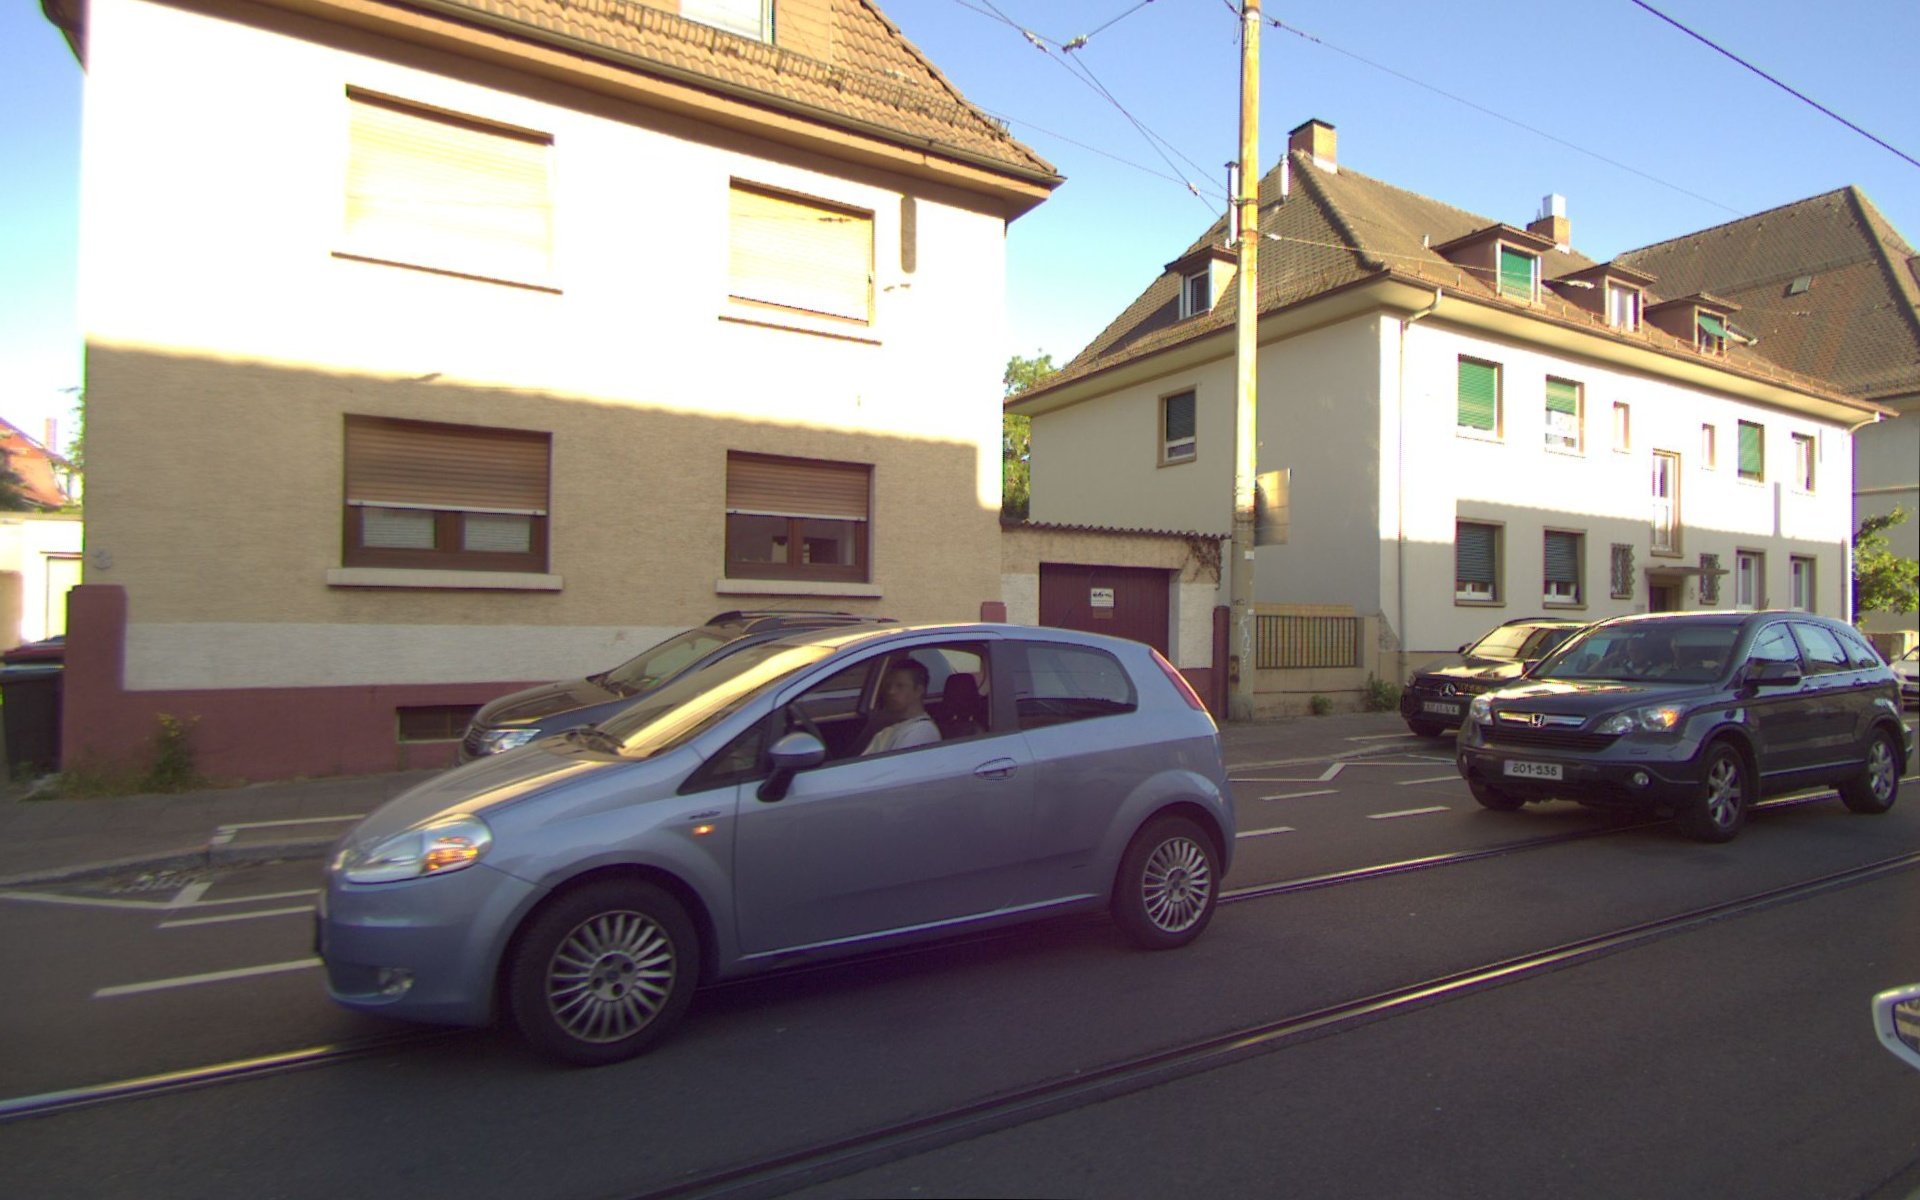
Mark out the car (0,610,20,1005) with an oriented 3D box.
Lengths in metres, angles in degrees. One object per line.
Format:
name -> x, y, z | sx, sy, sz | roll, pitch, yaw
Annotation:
car -> -4.822, 0.715, 2.289 | 3.569, 1.480, 1.576 | 1, -3, -29

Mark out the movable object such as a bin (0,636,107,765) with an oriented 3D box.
movable object such as a bin -> -8.317, 0.896, 9.185 | 0.664, 1.094, 0.612 | 1, 2, -30

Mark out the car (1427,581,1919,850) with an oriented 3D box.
car -> 5.989, 0.823, 8.295 | 4.312, 1.727, 1.696 | 2, -3, -30

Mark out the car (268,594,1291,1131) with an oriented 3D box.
car -> -0.551, 0.800, 4.506 | 4.027, 1.480, 1.610 | 2, -3, -30

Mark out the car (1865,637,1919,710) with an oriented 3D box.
car -> 20.997, 1.522, 21.213 | 3.968, 1.476, 1.624 | 2, -3, -30

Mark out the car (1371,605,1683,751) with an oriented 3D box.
car -> 7.891, 1.013, 13.866 | 4.503, 1.727, 1.753 | 2, -3, -31

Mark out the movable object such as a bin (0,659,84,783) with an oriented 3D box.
movable object such as a bin -> -7.954, 1.016, 8.581 | 0.575, 0.957, 0.654 | 1, 2, -30

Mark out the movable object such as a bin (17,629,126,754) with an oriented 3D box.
movable object such as a bin -> -8.622, 0.868, 9.773 | 0.664, 1.126, 0.639 | 1, 2, -30

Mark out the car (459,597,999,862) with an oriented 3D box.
car -> -1.743, 0.880, 7.956 | 3.876, 1.649, 1.608 | 2, -3, -31
